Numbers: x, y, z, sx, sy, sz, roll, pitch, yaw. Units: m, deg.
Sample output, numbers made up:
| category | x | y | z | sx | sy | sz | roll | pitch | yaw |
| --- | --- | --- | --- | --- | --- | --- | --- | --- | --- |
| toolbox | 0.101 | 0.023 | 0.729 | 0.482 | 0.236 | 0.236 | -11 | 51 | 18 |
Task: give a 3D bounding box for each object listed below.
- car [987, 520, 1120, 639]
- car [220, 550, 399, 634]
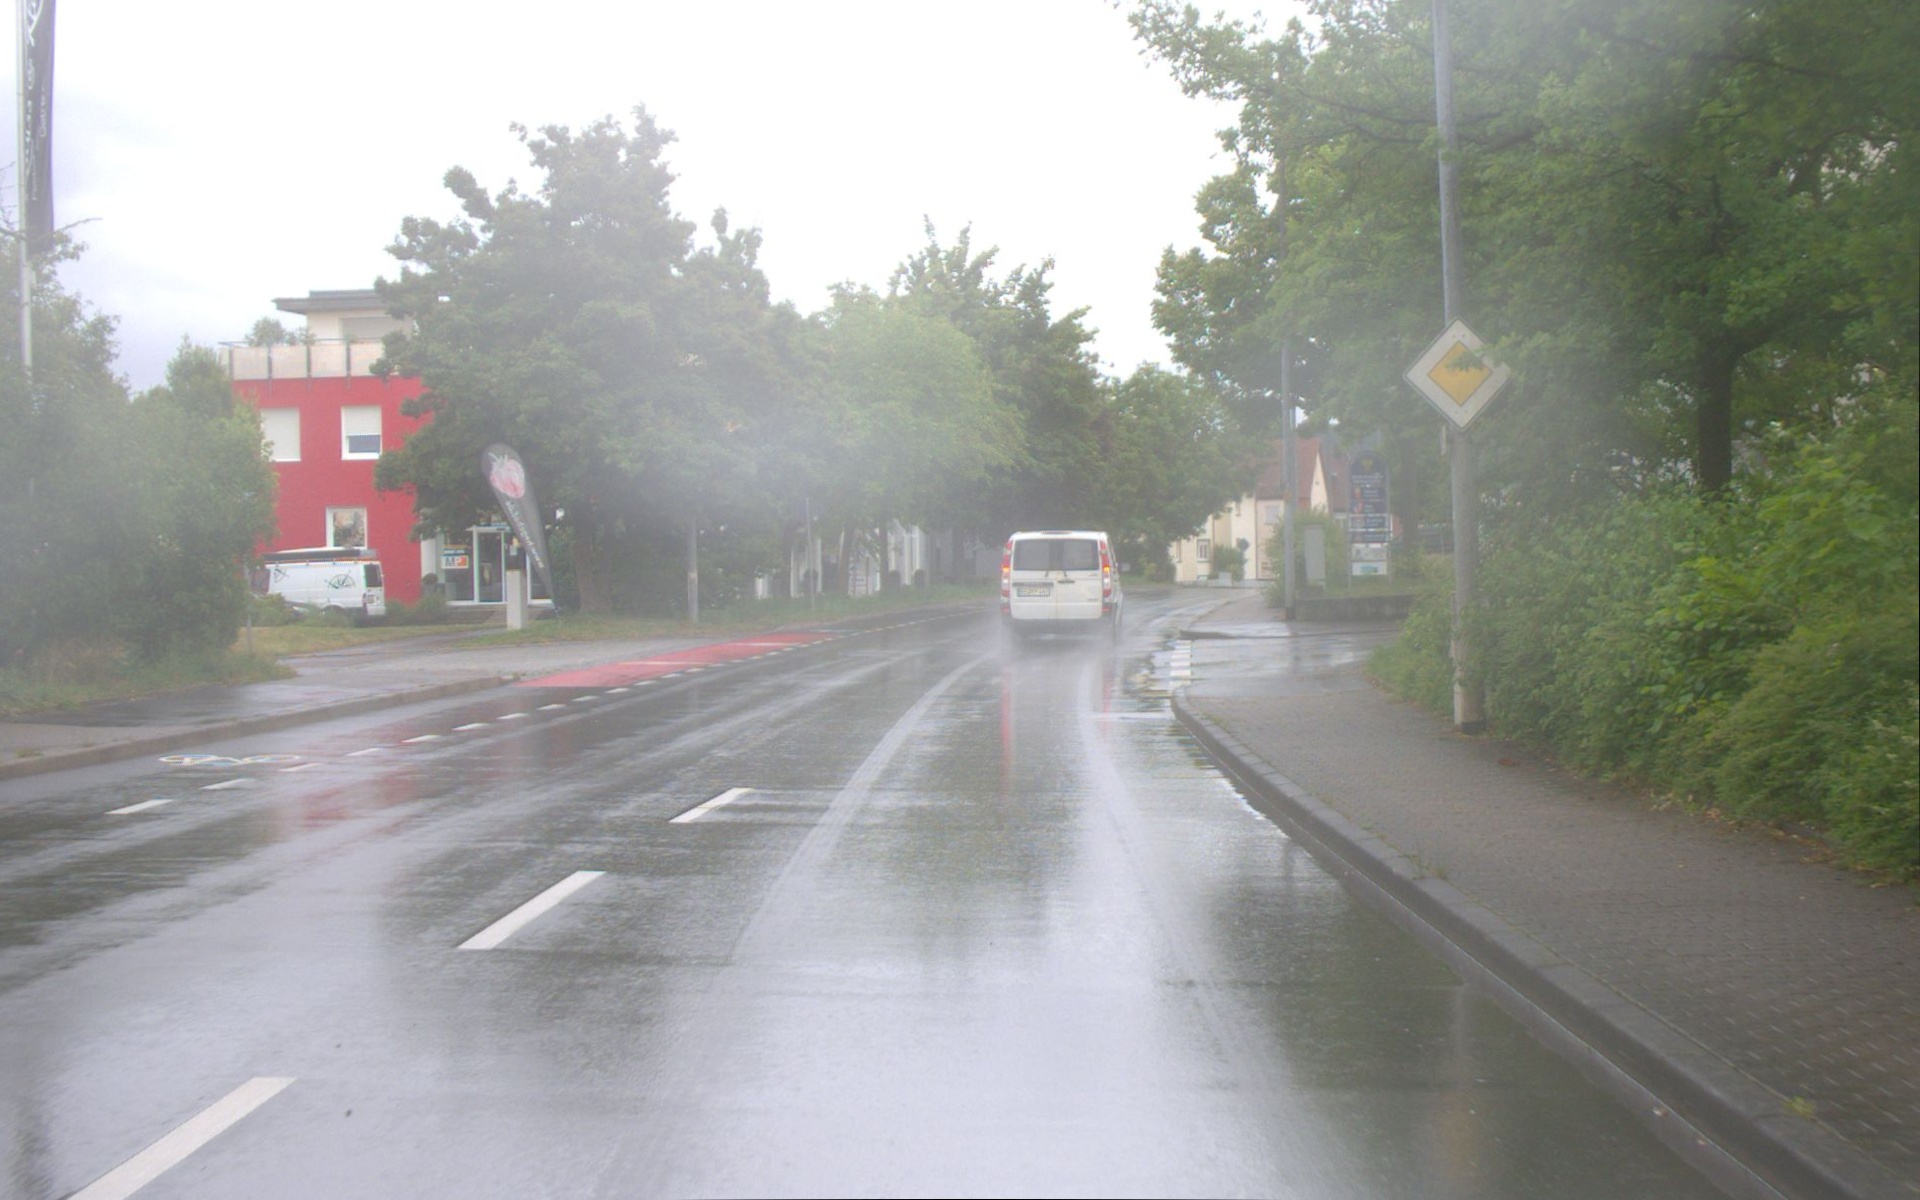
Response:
| category | x | y | z | sx | sy | sz | roll | pitch | yaw |
| --- | --- | --- | --- | --- | --- | --- | --- | --- | --- |
| car | 1.534 | -0.381 | 56.988 | 2.117 | 1.881 | 4.502 | 0 | 1 | 1 |
| car | -18.340 | -0.237 | 96.988 | 4.479 | 2.302 | 2.184 | 0 | 1 | 9 |
